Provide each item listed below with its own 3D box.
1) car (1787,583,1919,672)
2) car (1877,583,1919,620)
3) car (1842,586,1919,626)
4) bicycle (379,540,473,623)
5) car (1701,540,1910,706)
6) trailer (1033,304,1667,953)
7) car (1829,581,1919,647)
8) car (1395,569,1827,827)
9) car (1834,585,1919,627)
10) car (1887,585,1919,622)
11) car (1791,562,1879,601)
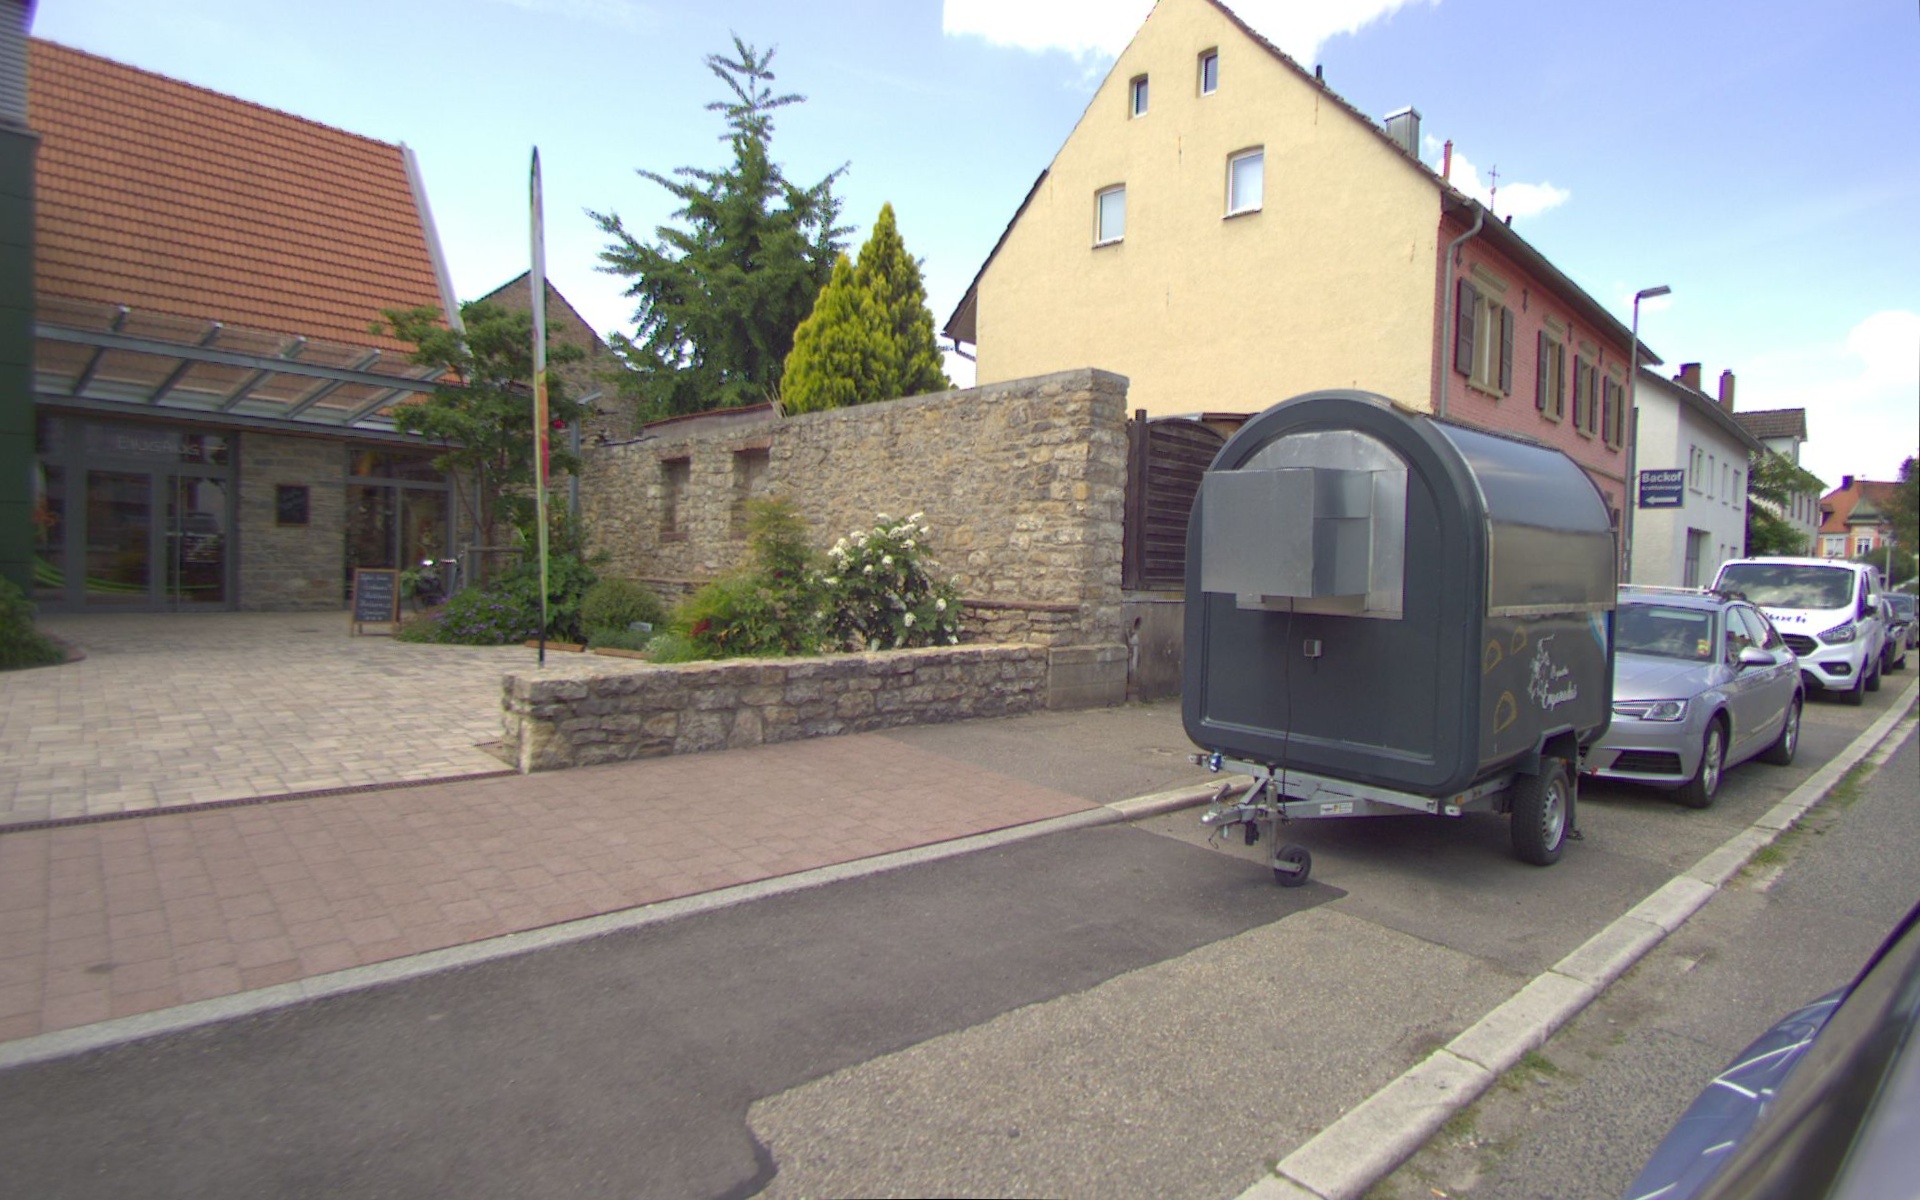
[{"bbox_3d":[18.343,0.494,20.547,4.091,1.513,1.778,0,4,-43],"label":"car"},{"bbox_3d":[44.431,0.142,46.382,1.697,1.596,3.383,0,4,-42],"label":"car"},{"bbox_3d":[39.246,0.238,42.540,2.758,1.523,1.863,3,2,24],"label":"car"},{"bbox_3d":[-8.652,-0.314,16.463,0.591,1.260,1.746,2,2,0],"label":"bicycle"},{"bbox_3d":[12.801,0.243,15.192,1.894,2.005,4.852,7,5,44],"label":"car"},{"bbox_3d":[2.318,0.063,5.604,3.529,2.382,1.847,0,3,-44],"label":"trailer"},{"bbox_3d":[26.874,0.366,29.362,4.250,1.701,1.997,0,3,-43],"label":"car"},{"bbox_3d":[5.585,0.569,8.397,4.595,1.499,1.878,0,3,-43],"label":"car"},{"bbox_3d":[37.422,0.231,40.472,3.198,1.523,1.814,3,2,21],"label":"car"},{"bbox_3d":[46.390,0.266,47.701,3.851,1.595,1.822,6,7,44],"label":"car"},{"bbox_3d":[71.731,-1.507,82.955,6.966,2.998,2.768,0,3,-25],"label":"car"}]
